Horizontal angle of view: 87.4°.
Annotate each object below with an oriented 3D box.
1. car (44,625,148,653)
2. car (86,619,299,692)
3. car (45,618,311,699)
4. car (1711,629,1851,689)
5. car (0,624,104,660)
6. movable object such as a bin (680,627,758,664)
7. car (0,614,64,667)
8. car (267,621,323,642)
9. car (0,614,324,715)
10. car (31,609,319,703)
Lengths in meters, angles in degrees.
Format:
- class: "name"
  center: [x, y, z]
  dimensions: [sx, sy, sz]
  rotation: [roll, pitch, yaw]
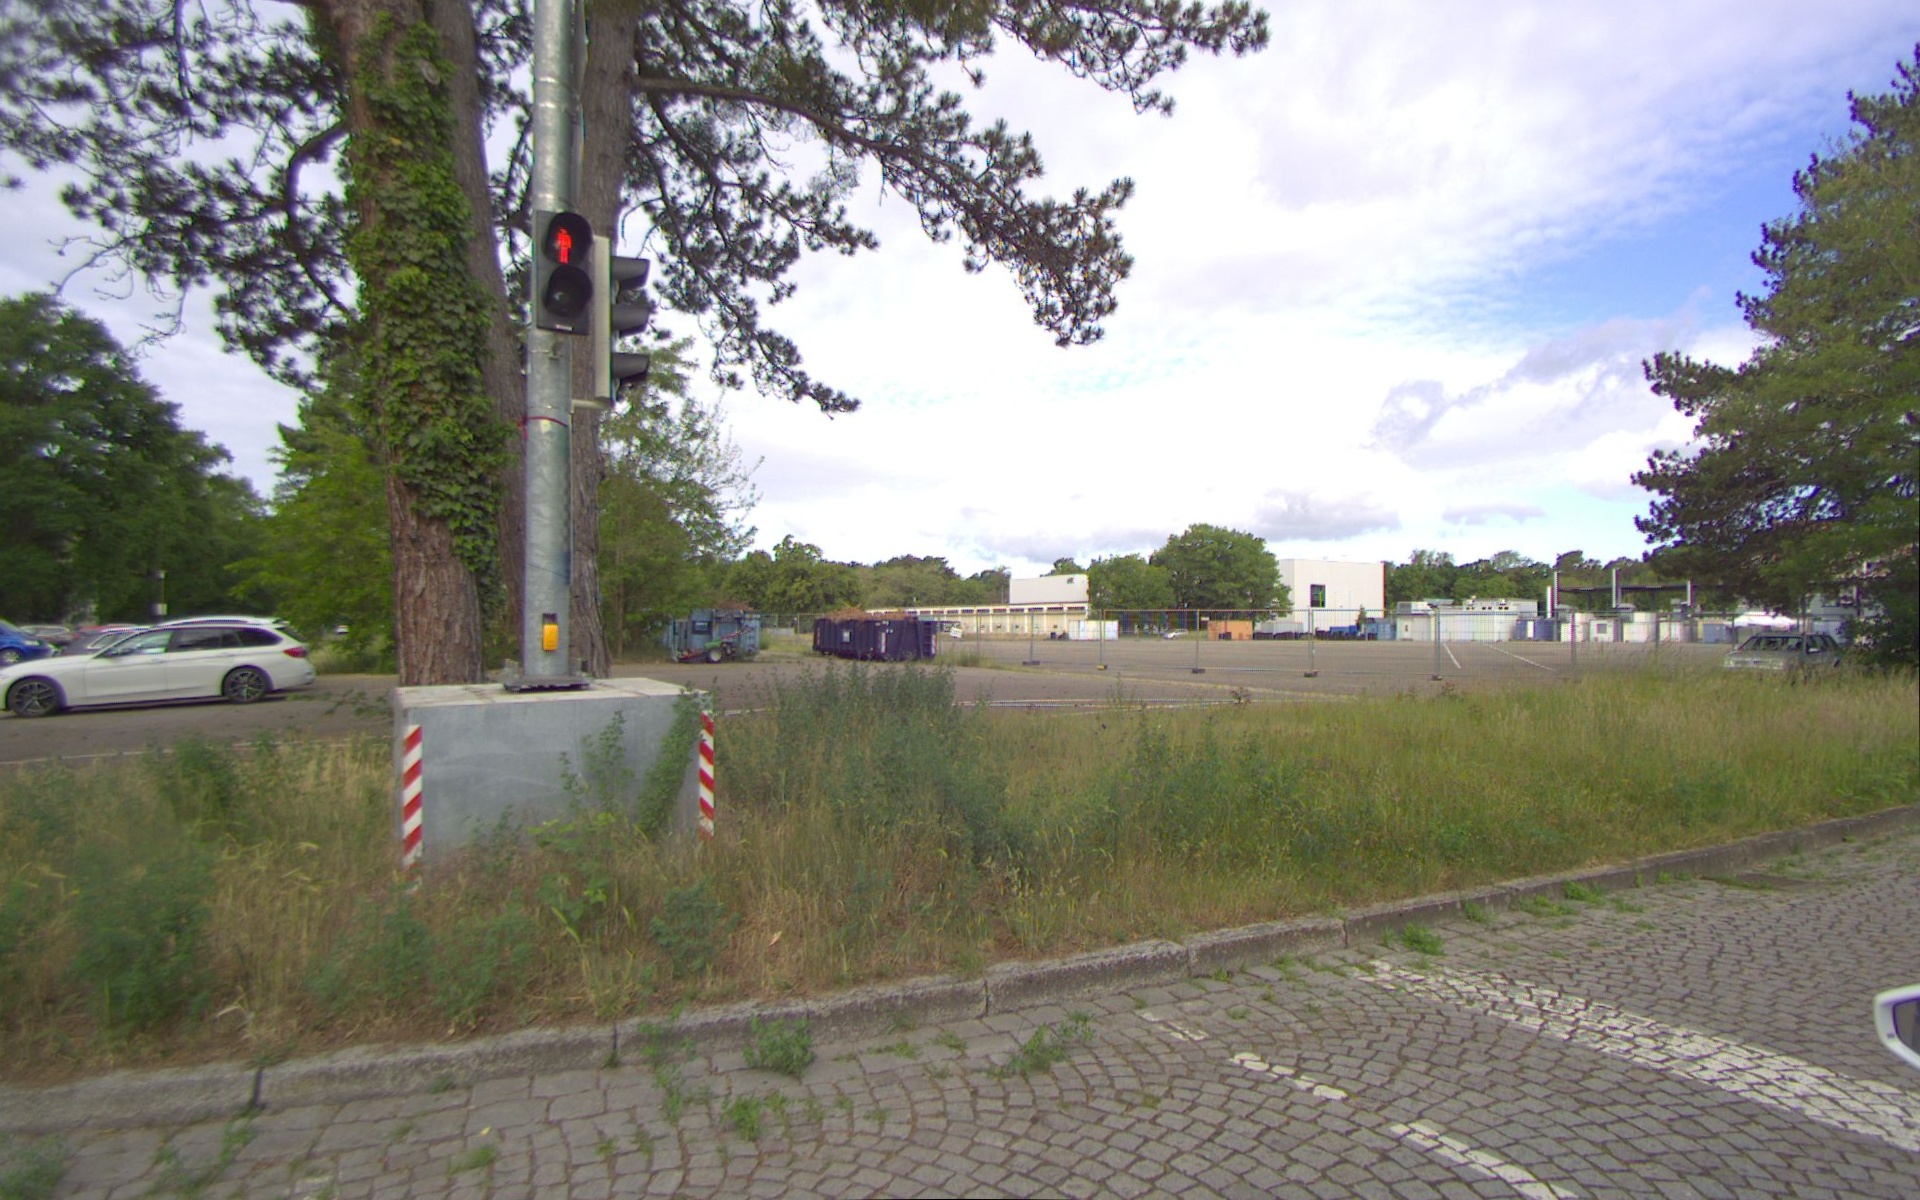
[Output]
- class: "car"
  center: [-47.803, 2.188, 55.675]
  dimensions: [4.036, 1.463, 1.714]
  rotation: [2, -2, -28]
- class: "car"
  center: [-18.419, 1.284, 24.354]
  dimensions: [3.919, 1.490, 1.571]
  rotation: [-2, 0, -33]
- class: "car"
  center: [-16.974, 1.216, 22.123]
  dimensions: [4.398, 1.443, 1.708]
  rotation: [-2, 0, -32]
- class: "car"
  center: [22.642, 1.579, 27.671]
  dimensions: [4.113, 1.451, 1.721]
  rotation: [0, -1, -31]
- class: "car"
  center: [-42.732, 1.976, 46.785]
  dimensions: [4.034, 1.614, 1.643]
  rotation: [2, -2, -27]
- class: "movable object such as a bin"
  center: [-7.655, 1.436, 31.928]
  dimensions: [2.243, 1.140, 0.851]
  rotation: [2, -2, -31]
- class: "car"
  center: [-38.257, 1.558, 39.176]
  dimensions: [4.547, 2.032, 1.899]
  rotation: [2, -2, -28]
- class: "car"
  center: [-74.802, 3.555, 113.049]
  dimensions: [5.096, 2.177, 1.759]
  rotation: [2, -2, -33]
- class: "car"
  center: [-14.104, 1.086, 17.829]
  dimensions: [4.701, 1.508, 1.851]
  rotation: [-1, -1, -32]
- class: "car"
  center: [-15.382, 1.034, 20.017]
  dimensions: [4.333, 1.619, 1.854]
  rotation: [-1, 0, -35]
